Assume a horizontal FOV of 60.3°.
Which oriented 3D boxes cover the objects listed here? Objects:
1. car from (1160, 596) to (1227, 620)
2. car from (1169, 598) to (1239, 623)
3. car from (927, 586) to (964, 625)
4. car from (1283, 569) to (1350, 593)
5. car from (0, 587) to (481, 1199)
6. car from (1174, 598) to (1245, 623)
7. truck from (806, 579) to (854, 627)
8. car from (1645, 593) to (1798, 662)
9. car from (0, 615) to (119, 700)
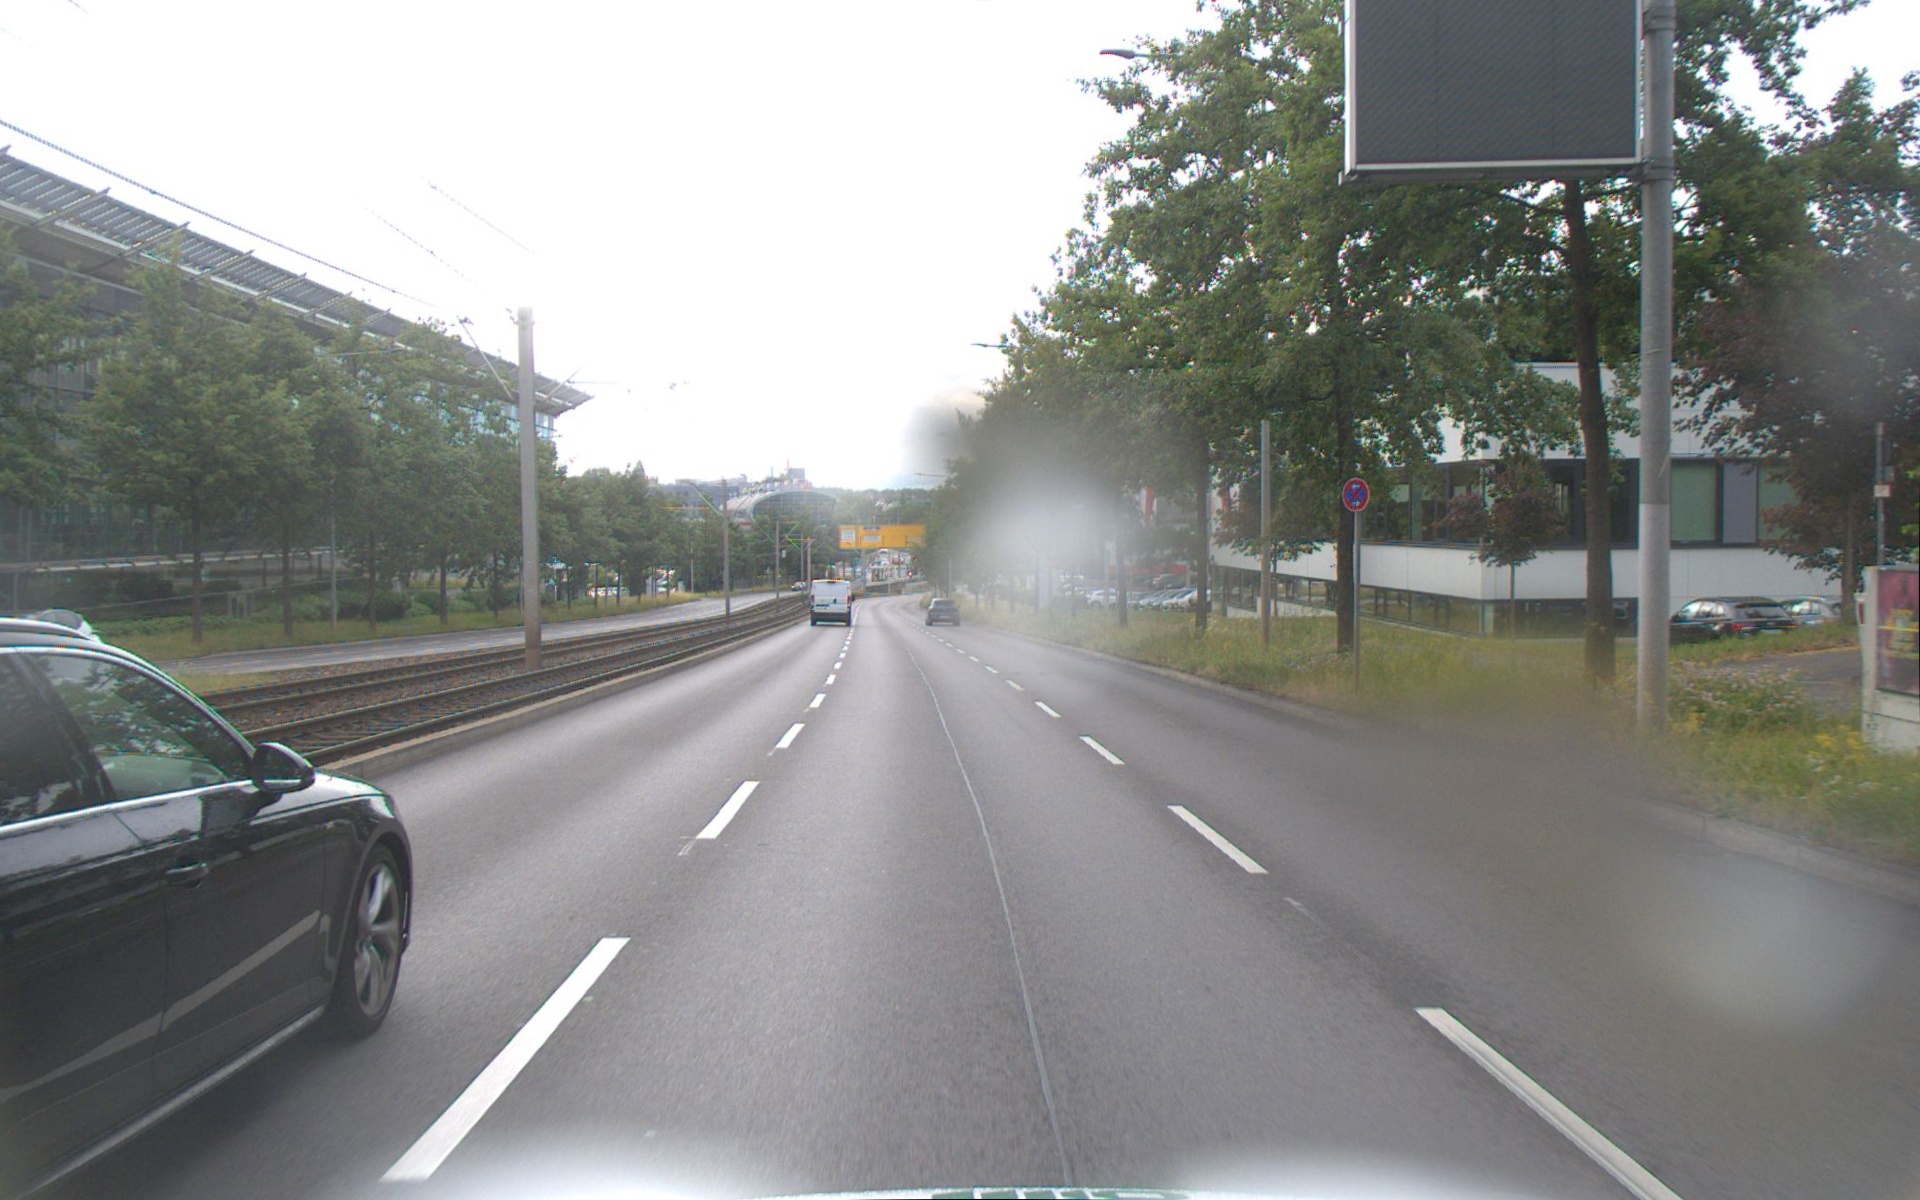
[{"bbox_3d":[14.349,0.500,101.874,3.904,1.378,2.000,1,0,1],"label":"car"},{"bbox_3d":[14.568,0.607,98.943,3.904,1.378,2.000,1,0,1],"label":"car"},{"bbox_3d":[-0.811,0.273,89.482,1.953,2.049,3.933,1,0,-1],"label":"car"},{"bbox_3d":[22.681,-1.199,105.328,3.904,1.378,2.000,1,0,1],"label":"car"},{"bbox_3d":[-2.686,0.720,3.913,1.754,1.459,4.828,0,1,-1],"label":"car"},{"bbox_3d":[14.513,0.603,96.348,3.904,1.378,2.000,1,0,1],"label":"car"},{"bbox_3d":[-6.570,0.132,84.114,2.313,2.301,5.302,1,0,-3],"label":"truck"},{"bbox_3d":[18.536,0.631,40.467,1.825,1.572,4.007,1,0,-1],"label":"car"},{"bbox_3d":[-18.089,1.059,31.759,1.843,1.473,4.137,-1,0,-1],"label":"car"}]
